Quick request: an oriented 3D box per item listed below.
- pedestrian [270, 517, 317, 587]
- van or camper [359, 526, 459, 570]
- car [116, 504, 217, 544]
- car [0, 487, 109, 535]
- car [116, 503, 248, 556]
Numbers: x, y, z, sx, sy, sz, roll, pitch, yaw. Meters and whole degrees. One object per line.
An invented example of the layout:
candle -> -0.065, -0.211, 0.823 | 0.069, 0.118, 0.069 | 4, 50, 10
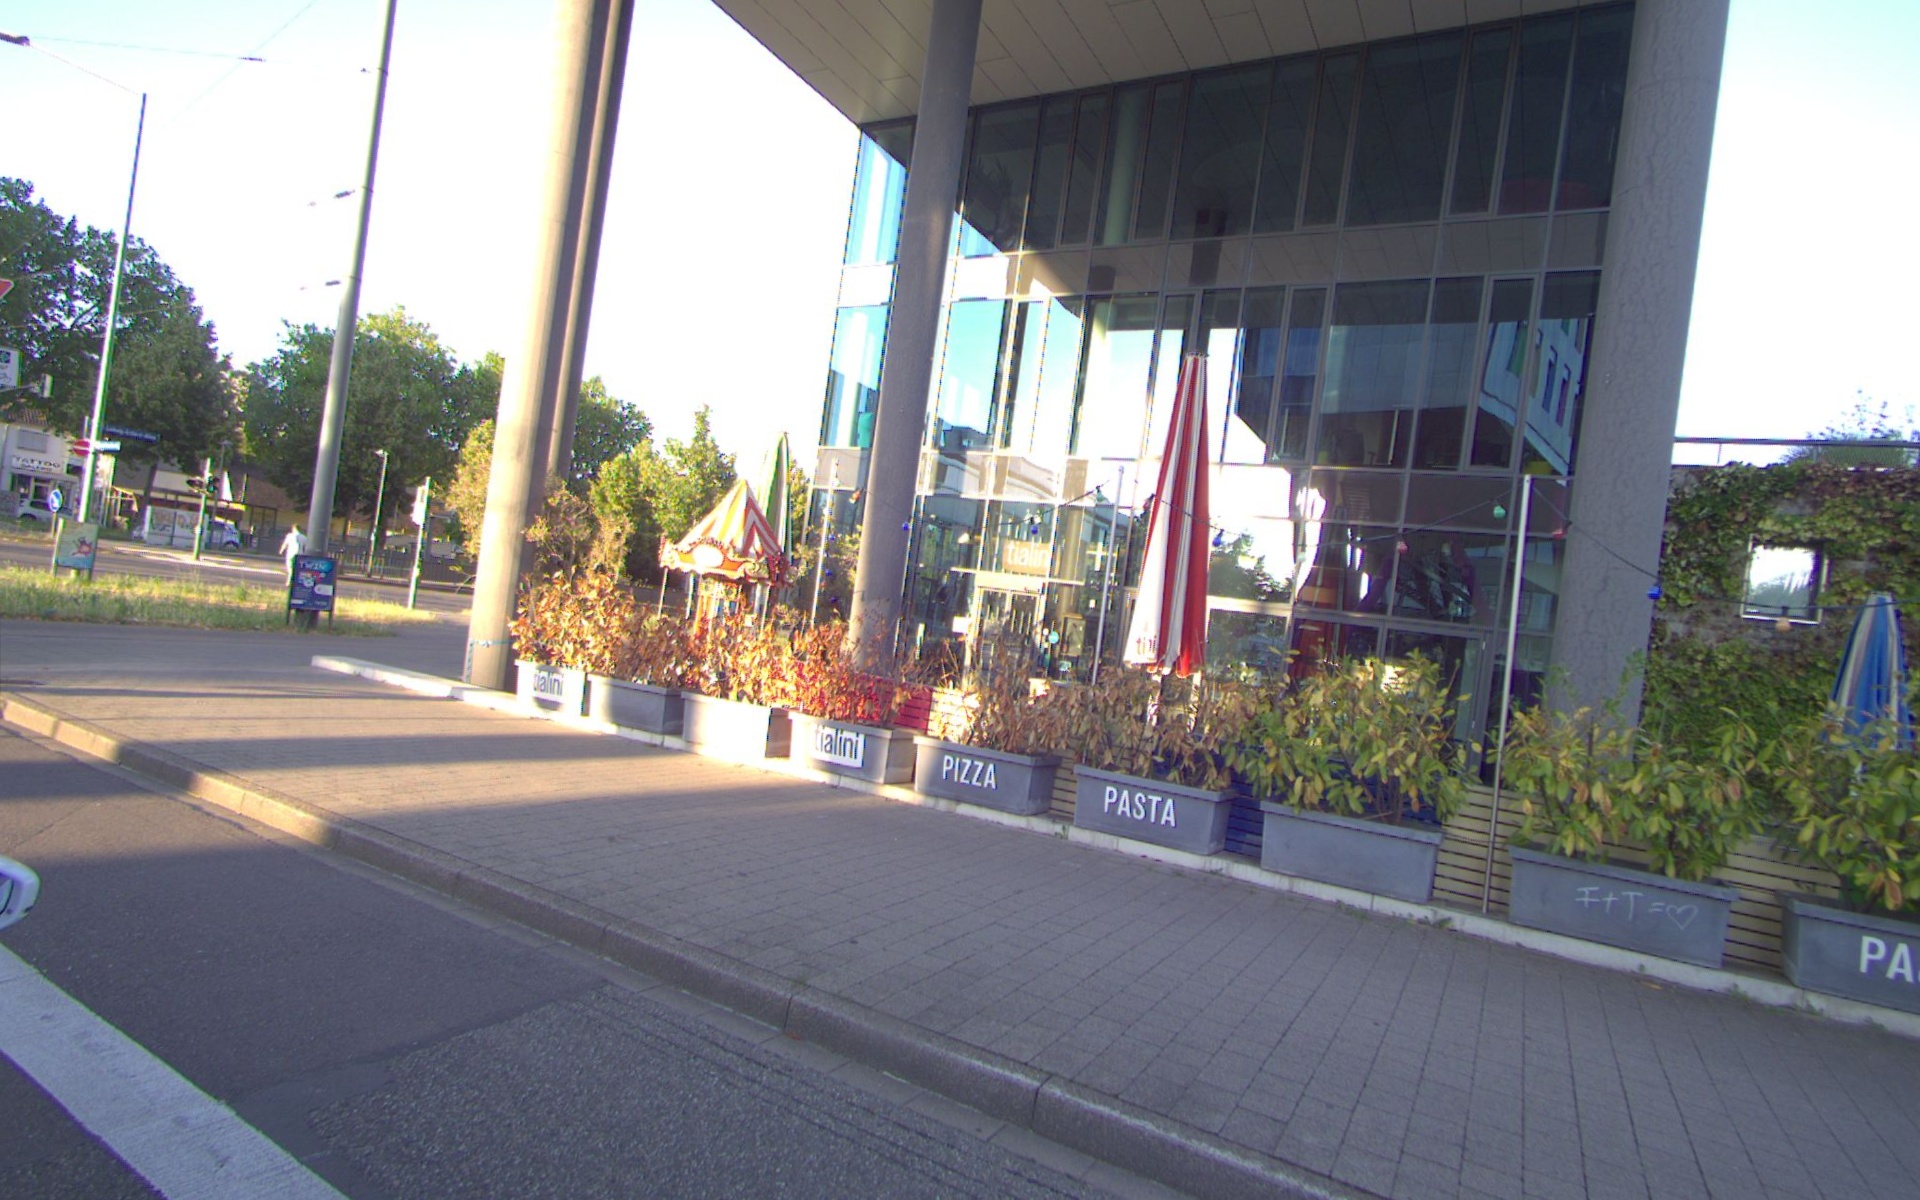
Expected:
pedestrian -> -18.522, -1.336, 27.980 | 0.755, 1.811, 0.797 | 8, -1, -26
van or camper -> -43.929, -4.081, 80.383 | 2.229, 2.437, 6.569 | 6, -2, 36
car -> -47.437, -4.524, 60.233 | 1.968, 1.595, 4.236 | 7, -2, 34
car -> -50.479, -4.919, 56.017 | 1.968, 1.868, 4.236 | 7, -2, 34
car -> -37.295, -3.352, 48.368 | 1.829, 1.748, 4.547 | 7, -2, 27
